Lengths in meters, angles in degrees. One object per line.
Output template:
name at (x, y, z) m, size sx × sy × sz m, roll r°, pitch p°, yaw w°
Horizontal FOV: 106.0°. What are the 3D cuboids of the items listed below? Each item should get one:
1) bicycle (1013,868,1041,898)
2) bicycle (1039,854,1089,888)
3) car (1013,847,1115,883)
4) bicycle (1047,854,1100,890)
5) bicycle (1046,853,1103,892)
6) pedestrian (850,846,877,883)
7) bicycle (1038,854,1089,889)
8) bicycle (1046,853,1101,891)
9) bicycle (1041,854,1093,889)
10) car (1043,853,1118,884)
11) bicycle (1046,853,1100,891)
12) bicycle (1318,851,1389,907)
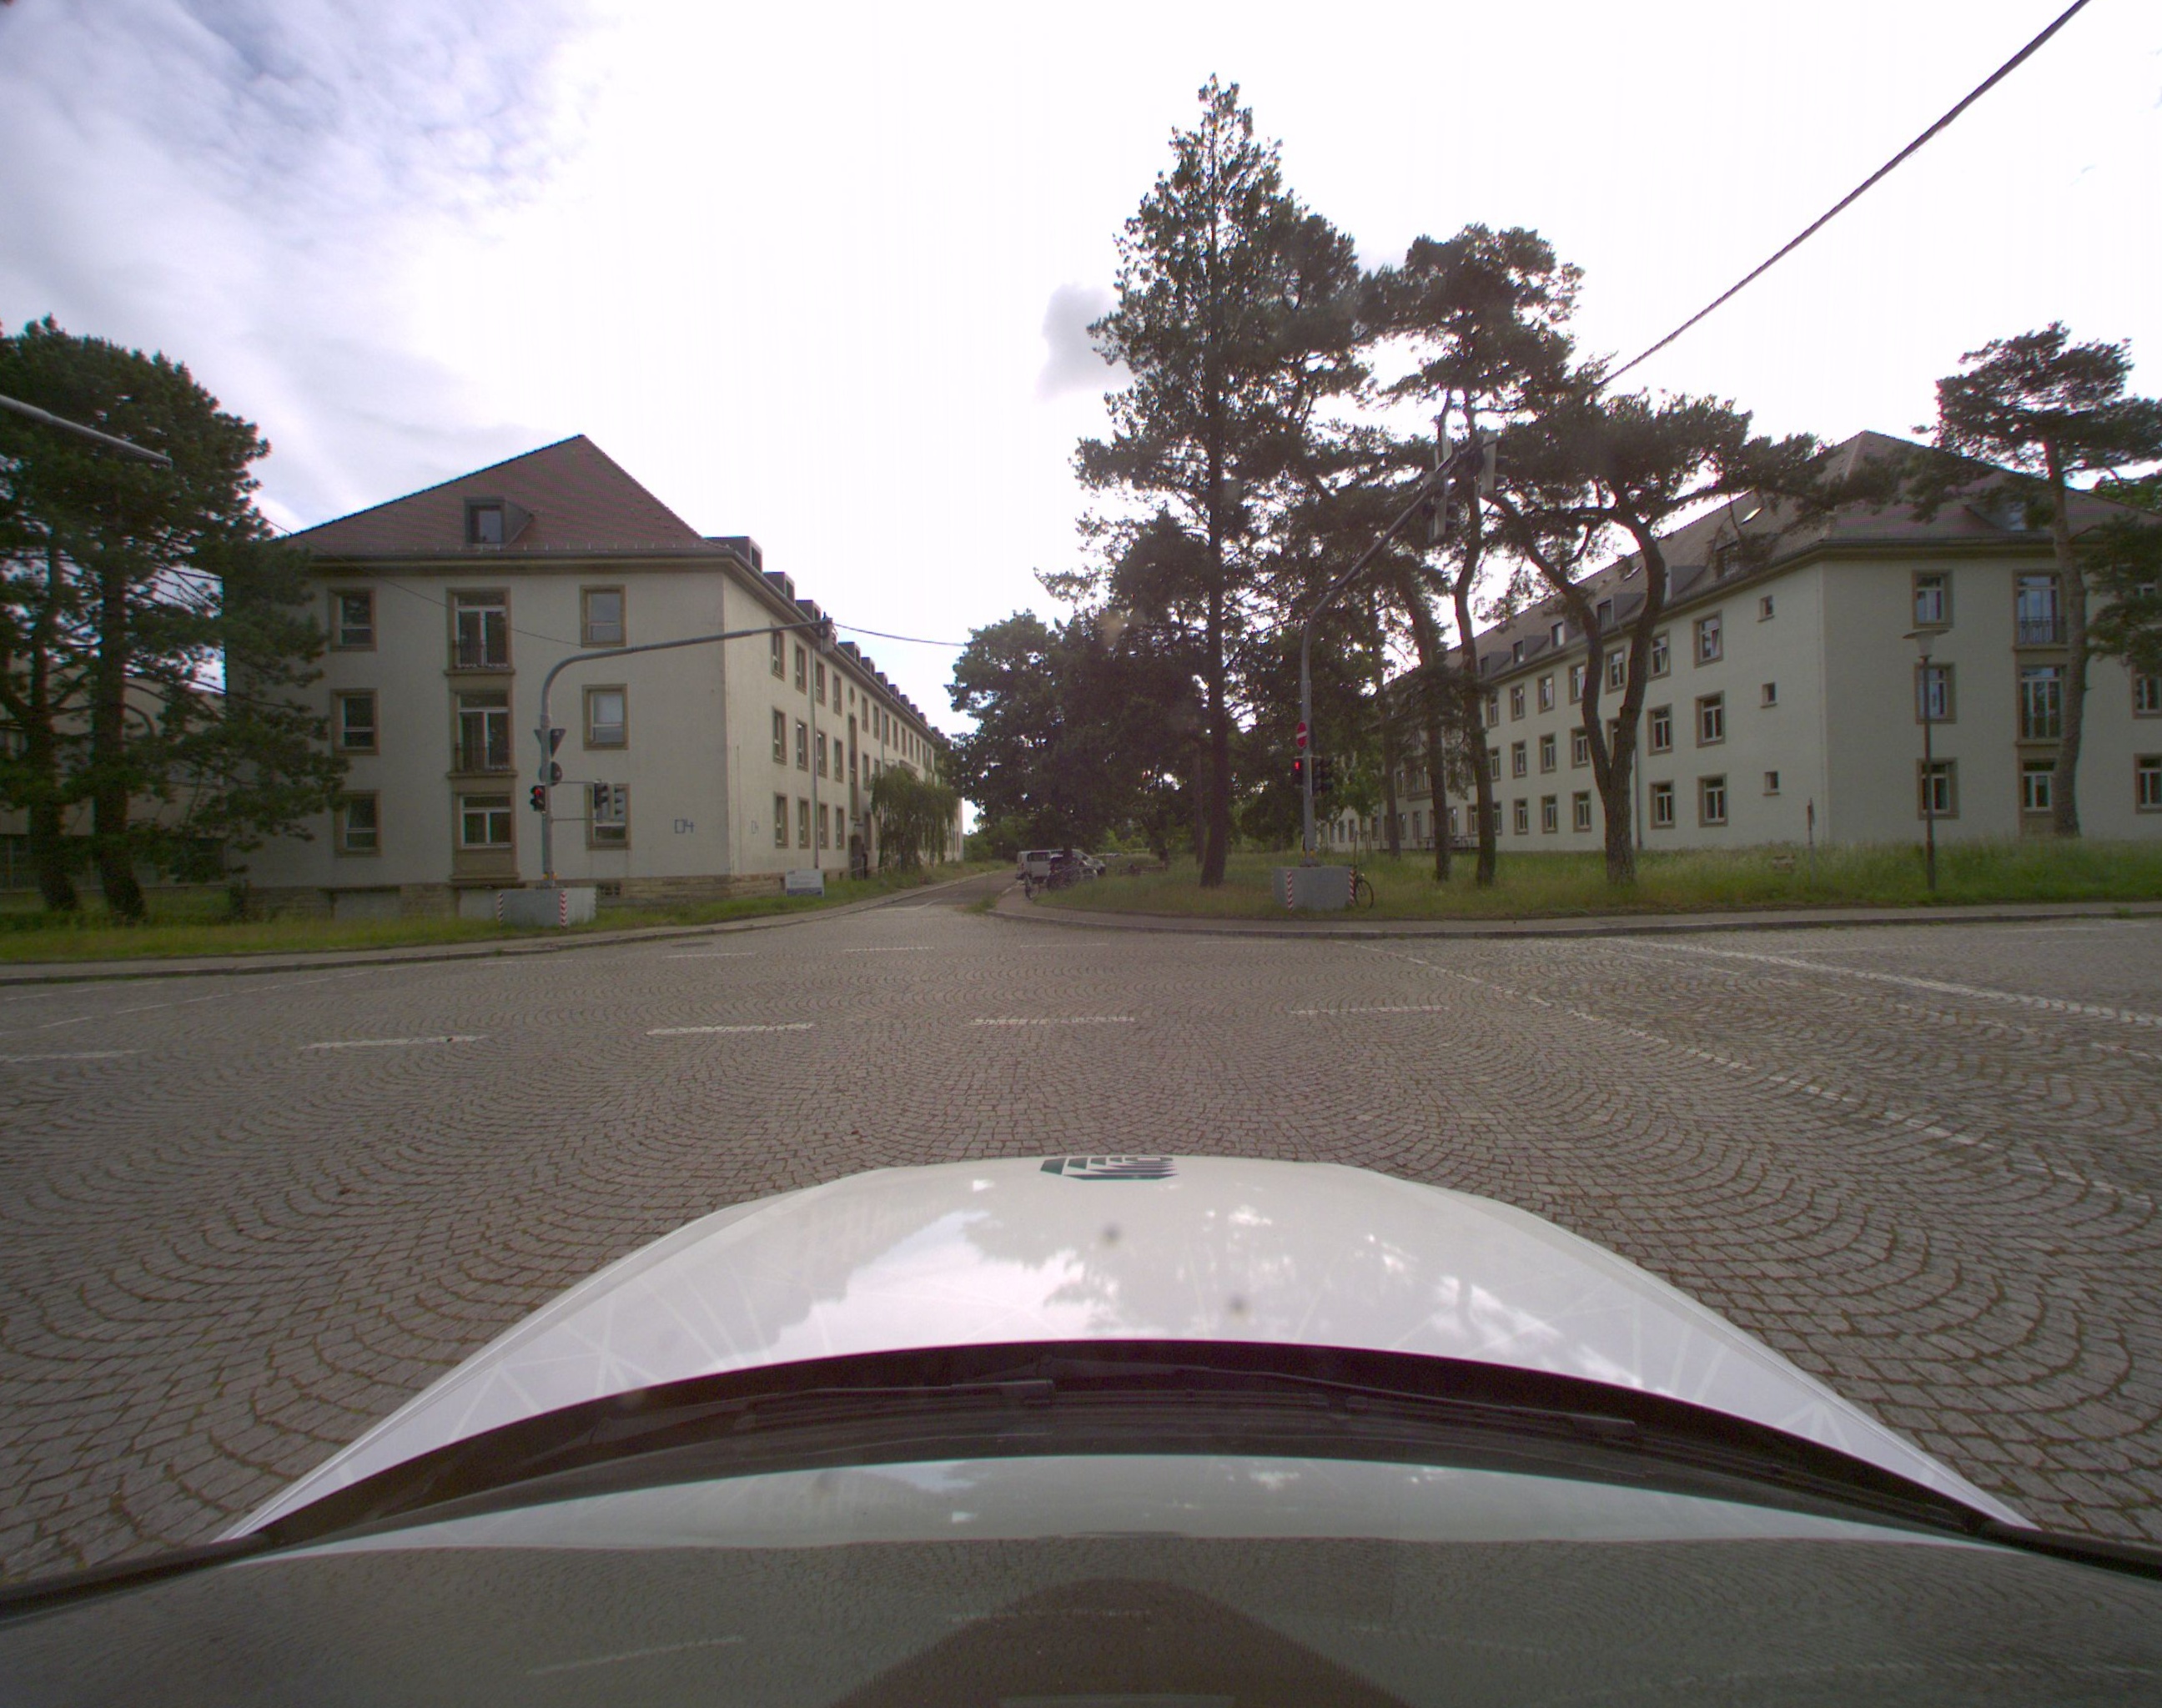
bicycle at (-1.879, 1.004, 28.502) m, size 0.615 × 0.963 × 2.080 m, roll -2°, pitch 0°, yaw 6°
bicycle at (-0.712, 0.717, 34.707) m, size 2.063 × 1.378 × 0.620 m, roll -2°, pitch 0°, yaw -1°
car at (-1.026, 0.640, 48.212) m, size 5.699 × 1.910 × 2.220 m, roll -2°, pitch 0°, yaw -14°
bicycle at (-0.307, 0.702, 32.435) m, size 2.063 × 1.378 × 0.620 m, roll -2°, pitch 0°, yaw -1°
bicycle at (-0.229, 0.687, 30.345) m, size 2.063 × 1.378 × 0.620 m, roll -2°, pitch 0°, yaw -1°
pedestrian at (-12.141, 0.593, 45.470) m, size 1.082 × 2.013 × 1.023 m, roll -2°, pitch 0°, yaw 4°
bicycle at (-0.712, 0.711, 33.960) m, size 2.063 × 1.378 × 0.620 m, roll -2°, pitch 0°, yaw -1°
bicycle at (-0.285, 0.691, 31.014) m, size 2.063 × 1.378 × 0.620 m, roll -2°, pitch 0°, yaw -1°
bicycle at (-0.547, 0.705, 33.227) m, size 2.063 × 1.378 × 0.620 m, roll -2°, pitch 0°, yaw -1°
car at (-0.068, 0.760, 44.868) m, size 3.927 × 1.544 × 1.996 m, roll -2°, pitch 0°, yaw -6°
bicycle at (-0.300, 0.696, 31.638) m, size 2.063 × 1.378 × 0.620 m, roll -2°, pitch 0°, yaw -1°
bicycle at (6.064, 0.532, 18.249) m, size 0.906 × 1.177 × 1.873 m, roll -2°, pitch 0°, yaw -2°
